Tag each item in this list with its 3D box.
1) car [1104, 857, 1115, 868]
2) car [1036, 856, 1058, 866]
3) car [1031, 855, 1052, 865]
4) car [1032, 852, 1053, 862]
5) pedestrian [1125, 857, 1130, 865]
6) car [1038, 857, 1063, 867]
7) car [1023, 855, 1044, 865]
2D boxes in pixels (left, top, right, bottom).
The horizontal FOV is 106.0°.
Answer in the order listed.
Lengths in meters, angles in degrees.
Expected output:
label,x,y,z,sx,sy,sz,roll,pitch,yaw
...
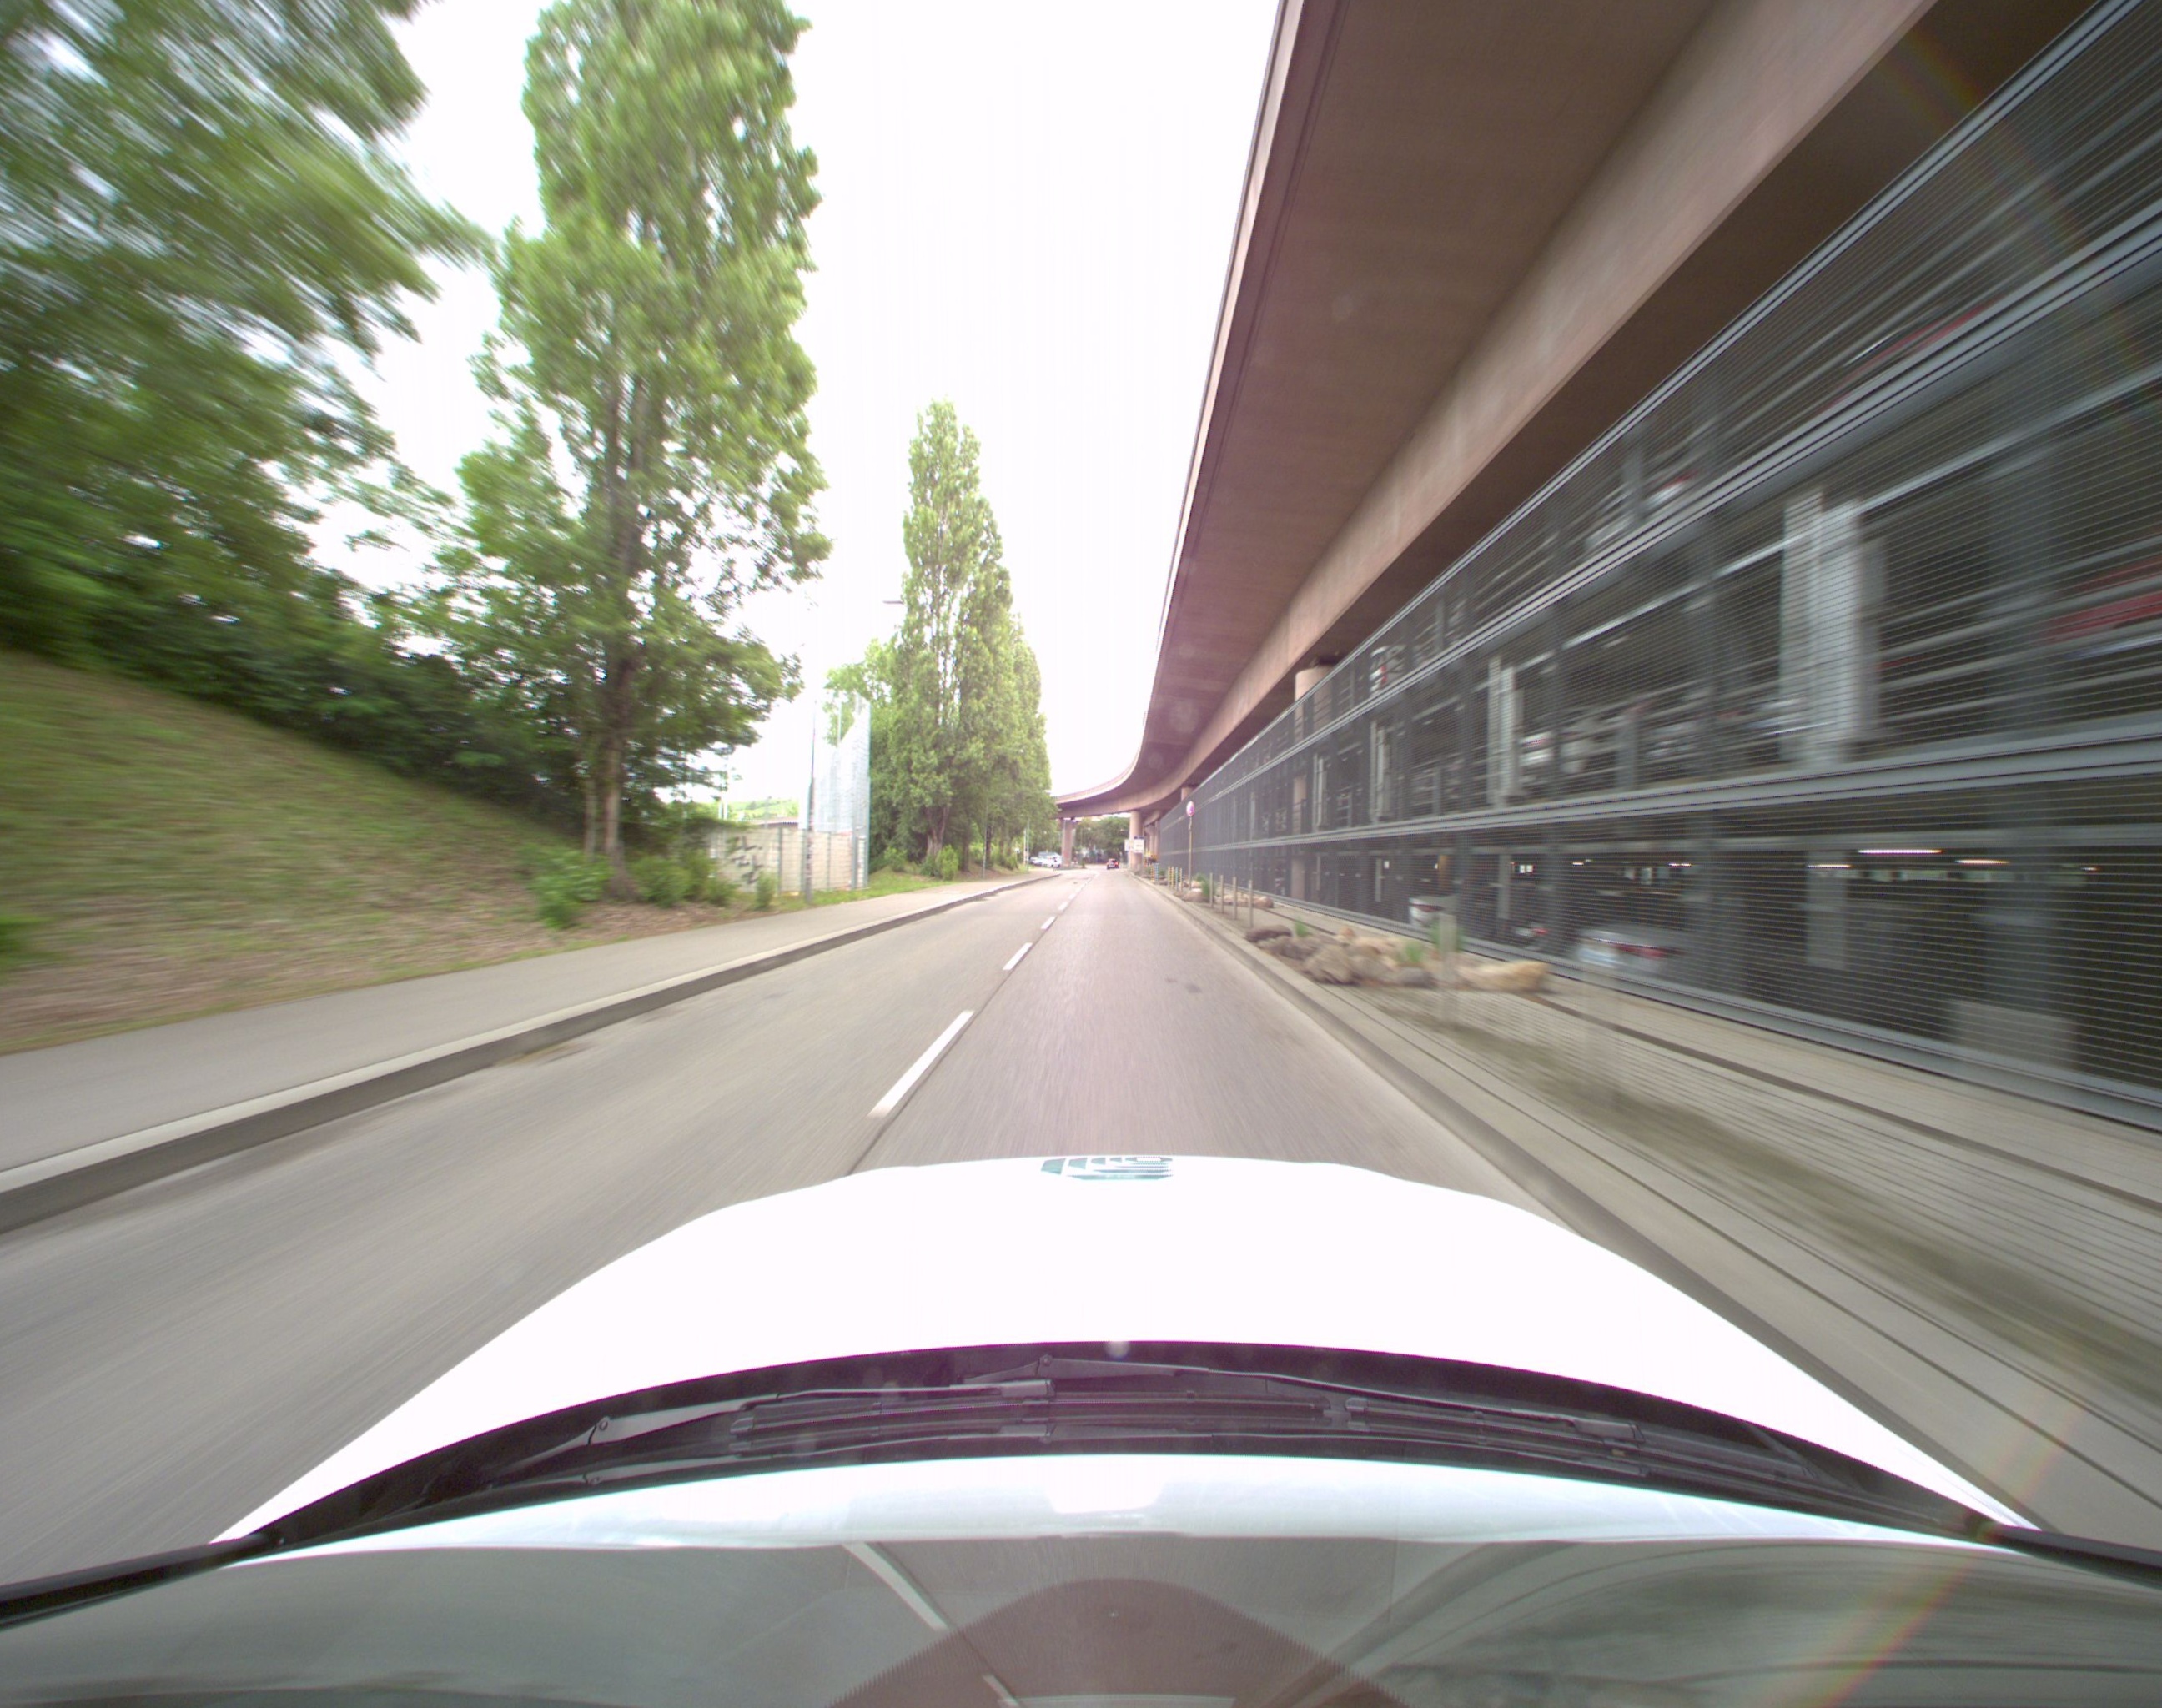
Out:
label,x,y,z,sx,sy,sz,roll,pitch,yaw
car,4.774,1.378,137.968,1.832,1.711,3.708,1,1,2
car,-6.032,1.203,145.007,1.704,1.716,3.695,2,2,43
car,-7.163,1.160,148.345,1.704,1.716,3.695,2,2,43
car,-8.180,0.580,173.425,4.200,2.013,2.000,1,0,0
pedestrian,10.829,1.651,190.391,0.774,1.876,0.817,0,1,-29
car,-5.298,1.357,140.930,1.862,1.716,4.178,2,2,43
car,-8.783,1.062,151.660,1.785,1.716,3.695,2,2,43
